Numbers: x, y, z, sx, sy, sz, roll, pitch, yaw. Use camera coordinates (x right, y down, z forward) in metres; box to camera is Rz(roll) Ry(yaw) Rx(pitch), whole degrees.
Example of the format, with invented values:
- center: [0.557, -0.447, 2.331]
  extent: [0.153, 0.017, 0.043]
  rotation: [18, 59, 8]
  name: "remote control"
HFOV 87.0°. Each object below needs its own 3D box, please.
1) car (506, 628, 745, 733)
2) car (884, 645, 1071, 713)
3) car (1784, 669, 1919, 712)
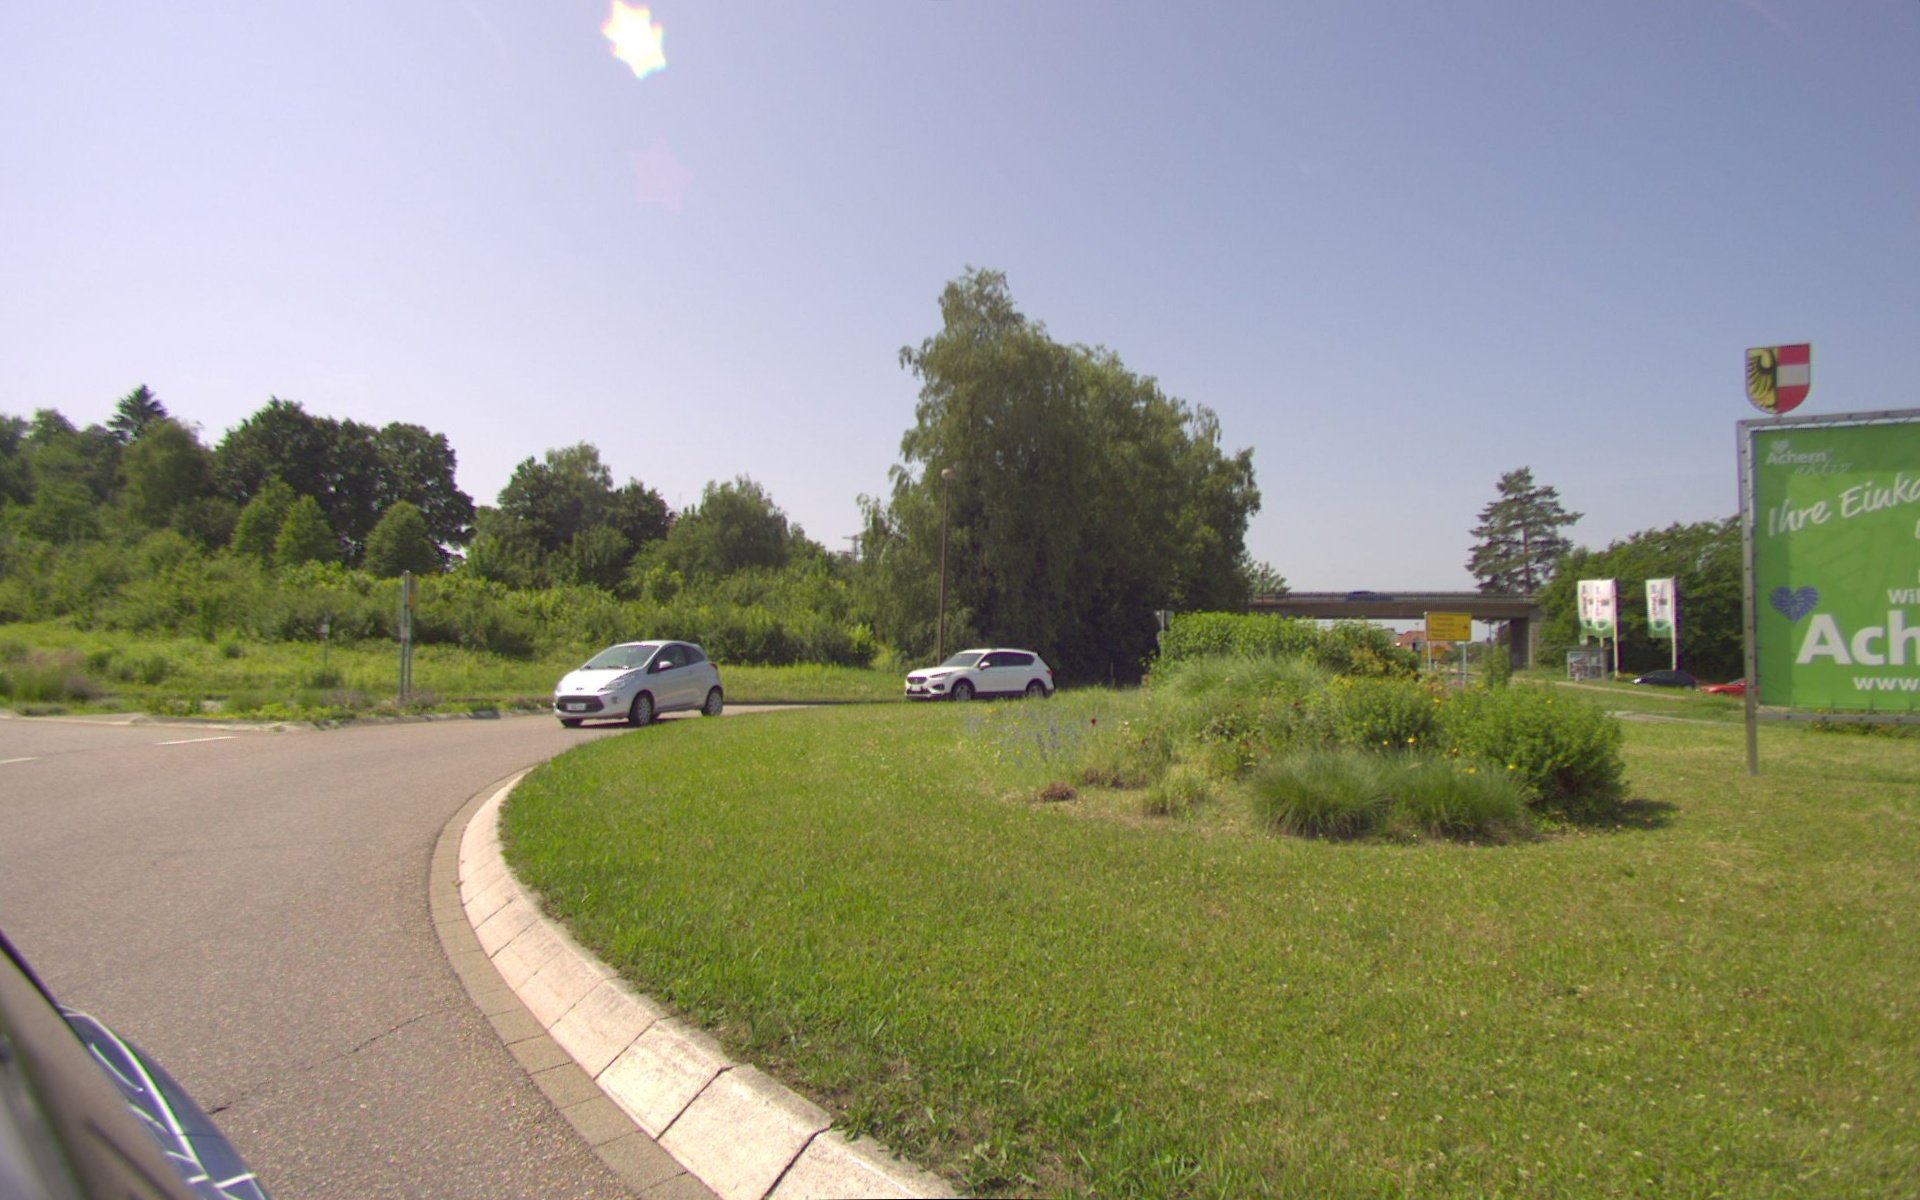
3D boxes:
- center: [-5.962, 1.384, 18.605]
  extent: [2.112, 1.628, 4.173]
  rotation: [-2, -1, 19]
  name: "car"
- center: [0.555, 2.155, 28.541]
  extent: [5.039, 1.665, 2.202]
  rotation: [2, -2, -38]
  name: "car"
- center: [38.148, 3.829, 43.060]
  extent: [4.369, 1.573, 1.866]
  rotation: [1, -1, 18]
  name: "car"
